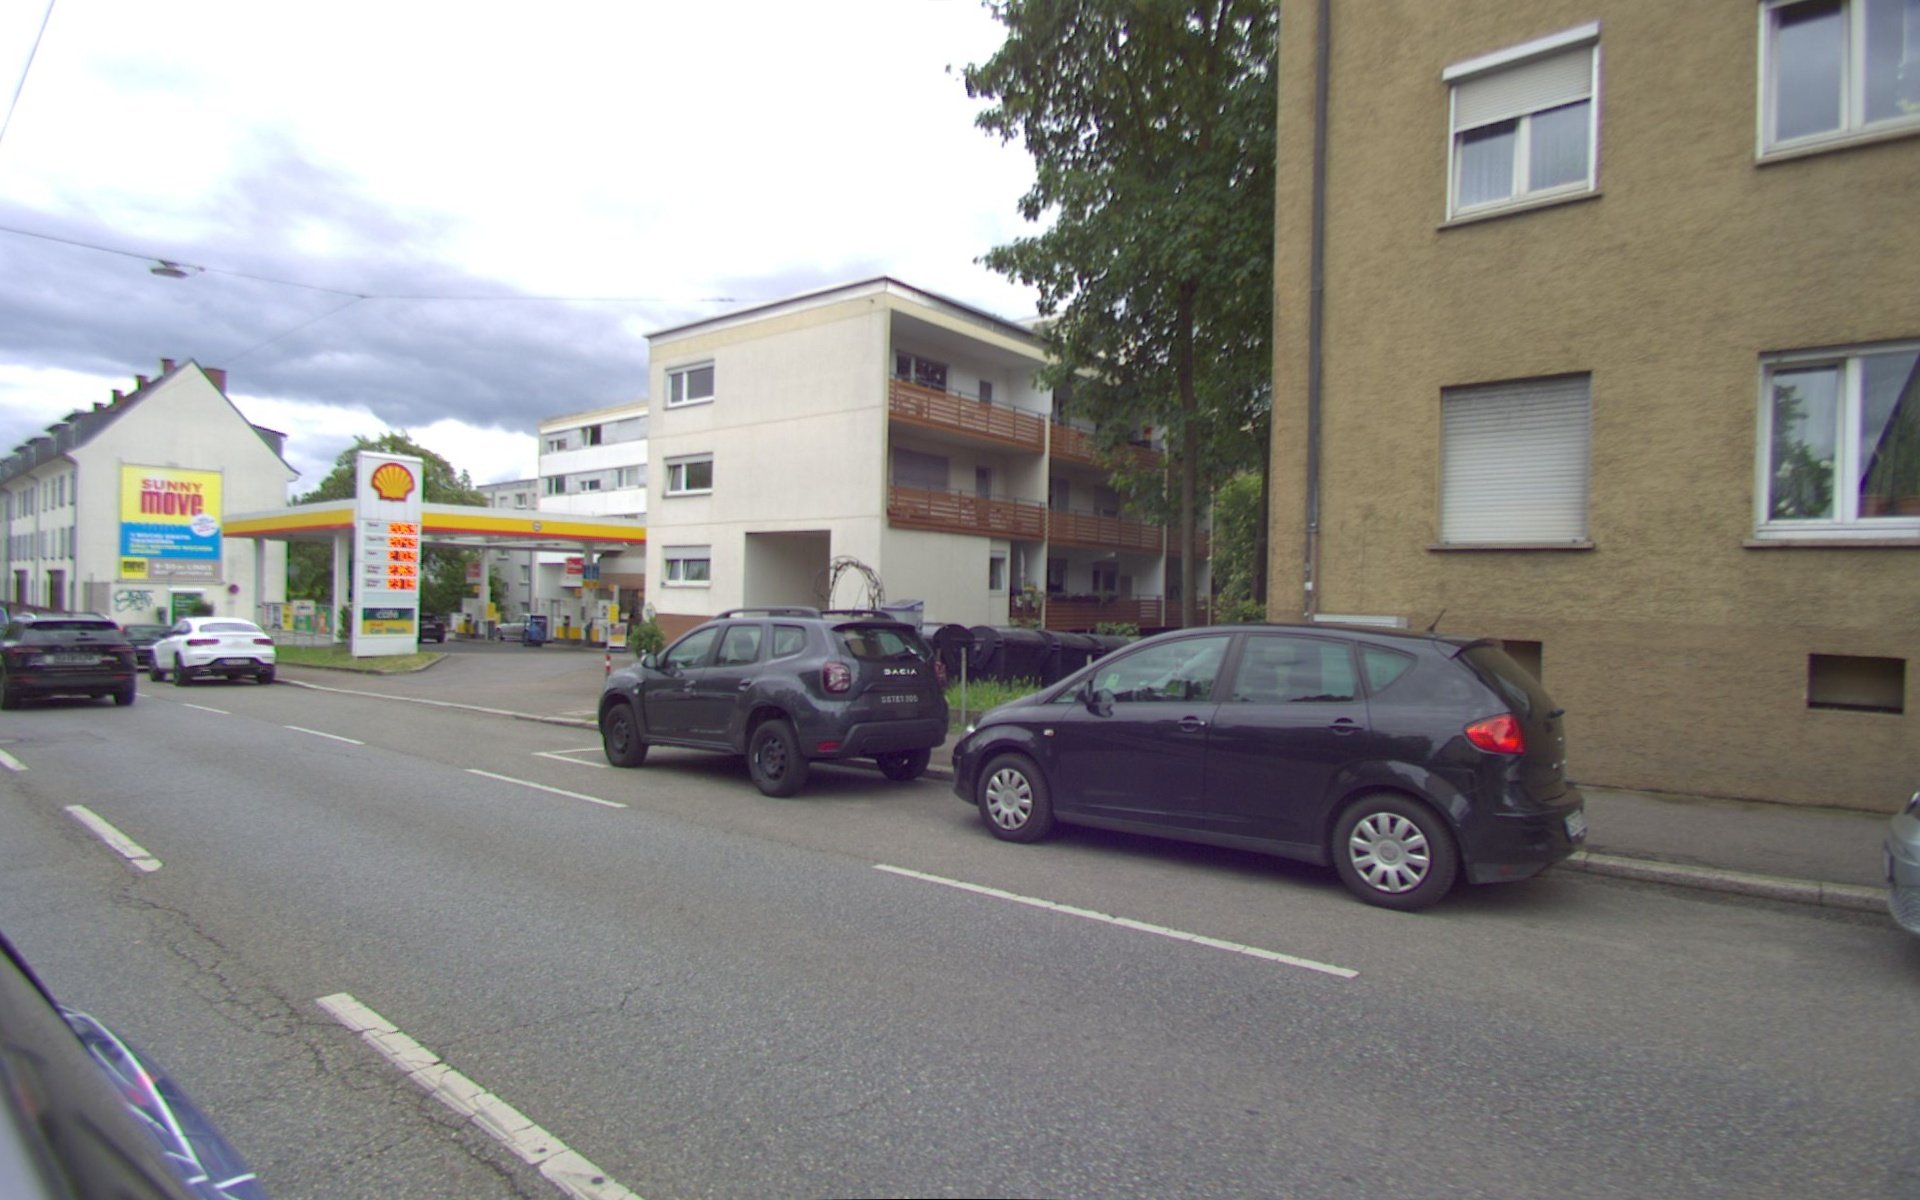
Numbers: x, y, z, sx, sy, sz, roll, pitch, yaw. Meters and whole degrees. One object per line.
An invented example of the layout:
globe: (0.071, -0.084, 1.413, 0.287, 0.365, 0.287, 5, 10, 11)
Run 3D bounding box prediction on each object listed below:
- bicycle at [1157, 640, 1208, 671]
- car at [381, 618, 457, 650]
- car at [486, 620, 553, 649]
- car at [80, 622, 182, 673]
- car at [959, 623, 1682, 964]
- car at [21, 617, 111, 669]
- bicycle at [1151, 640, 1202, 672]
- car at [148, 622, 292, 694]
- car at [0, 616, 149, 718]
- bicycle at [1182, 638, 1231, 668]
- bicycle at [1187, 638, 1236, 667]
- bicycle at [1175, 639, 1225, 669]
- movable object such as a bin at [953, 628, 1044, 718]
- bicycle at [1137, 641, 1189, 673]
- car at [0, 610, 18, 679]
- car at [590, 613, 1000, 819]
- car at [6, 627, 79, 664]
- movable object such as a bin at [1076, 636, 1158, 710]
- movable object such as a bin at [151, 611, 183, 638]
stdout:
bicycle: (8.600, 2.126, 39.147, 1.934, 1.145, 0.452, -1, -1, 42)
car: (-25.924, 1.625, 48.461, 4.414, 1.431, 1.779, -2, -1, 41)
car: (-22.563, 1.758, 51.822, 3.634, 1.431, 1.779, -2, -1, 41)
car: (-25.194, 1.409, 30.688, 4.744, 1.442, 1.778, -2, -3, 43)
car: (2.121, 0.937, 6.591, 4.095, 1.542, 1.734, -1, -3, 39)
car: (-33.978, 1.601, 38.431, 4.697, 1.849, 1.833, -1, -3, 40)
bicycle: (8.263, 2.126, 38.733, 1.934, 1.145, 0.452, -1, -1, 42)
car: (-18.110, 1.347, 24.698, 4.698, 1.589, 1.895, -1, -2, 42)
car: (-15.997, 1.106, 17.940, 4.162, 1.602, 1.821, -1, -2, 41)
bicycle: (9.893, 2.127, 40.688, 1.934, 1.145, 0.452, -1, -1, 42)
bicycle: (10.215, 2.128, 41.117, 1.934, 1.145, 0.452, -1, -1, 42)
bicycle: (9.548, 2.127, 40.319, 1.934, 1.145, 0.452, -1, -1, 42)
movable object such as a bin: (0.681, 1.222, 17.398, 0.912, 1.439, 1.379, -2, -1, 39)
bicycle: (7.568, 2.125, 37.783, 1.934, 1.145, 0.452, -1, -1, 42)
car: (-29.000, 1.284, 29.407, 4.587, 1.915, 1.911, -2, -2, 41)
car: (-1.804, 1.000, 10.129, 4.264, 1.621, 1.763, -1, -4, 42)
car: (-38.097, 1.867, 41.995, 4.216, 1.461, 1.772, -2, -3, 41)
movable object such as a bin: (3.242, 1.480, 20.880, 1.396, 1.439, 0.901, -2, -1, 39)
movable object such as a bin: (-46.326, 1.445, 59.098, 1.104, 1.550, 1.251, -2, -3, 41)
